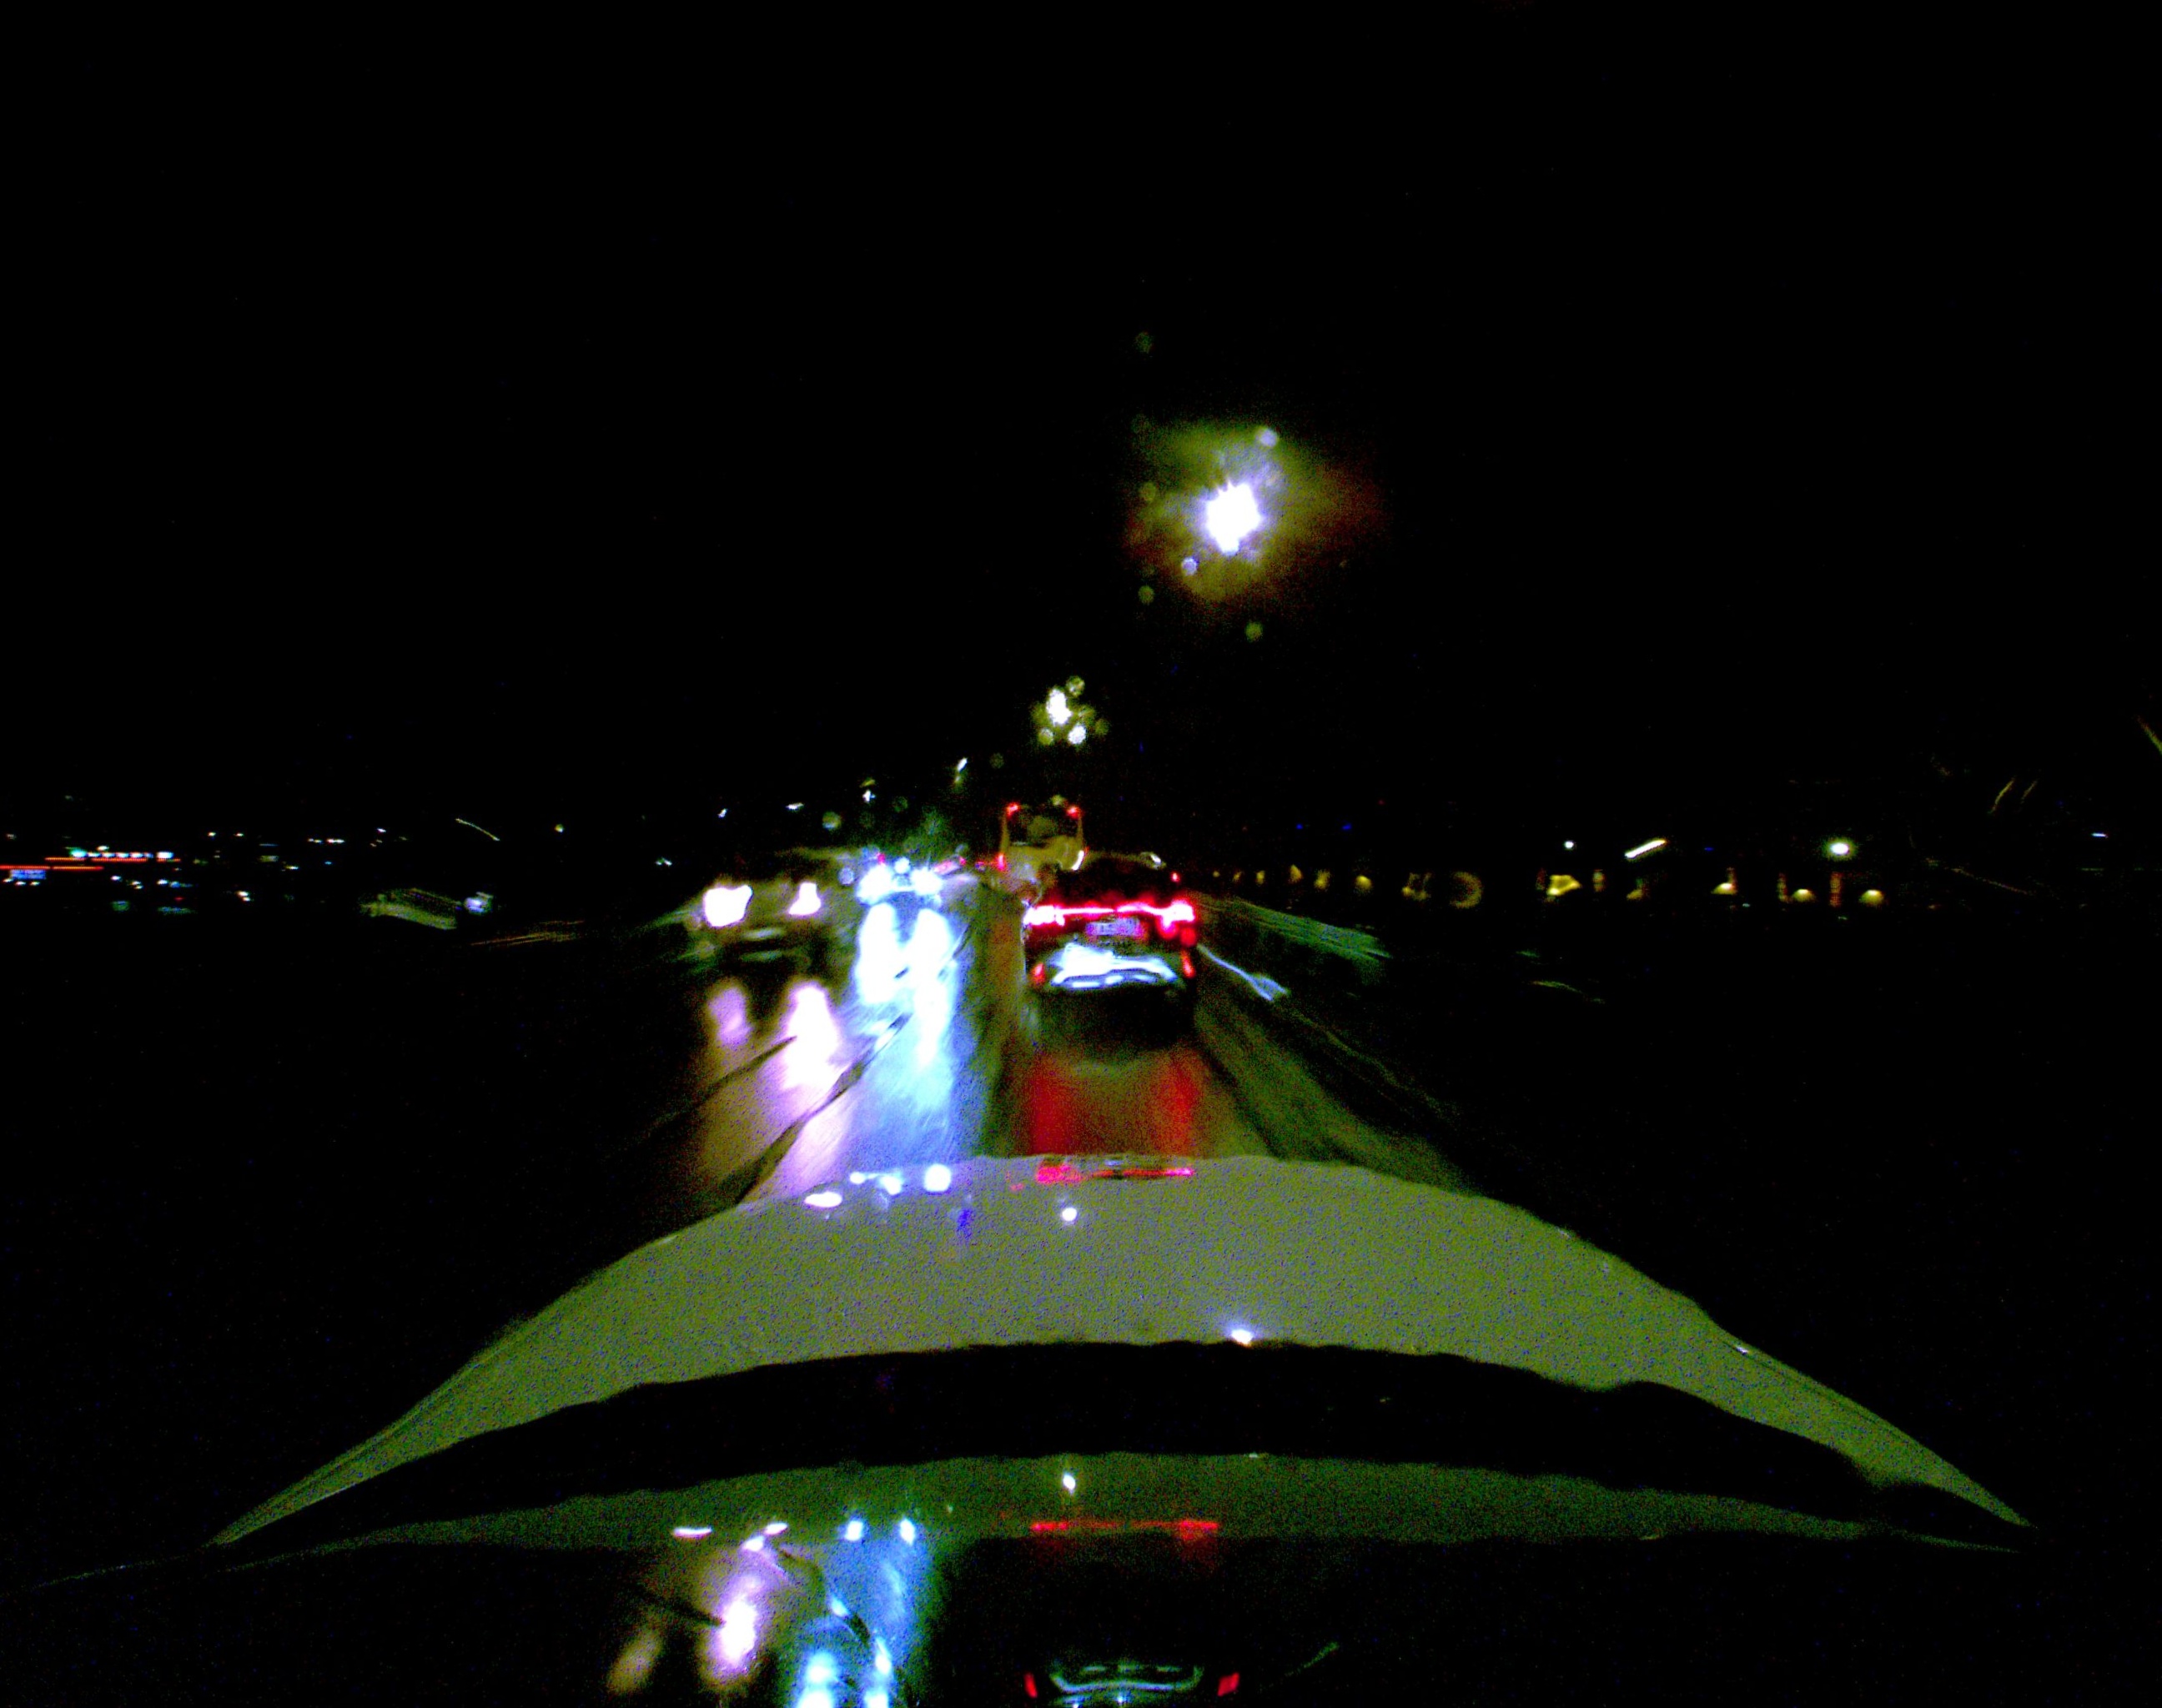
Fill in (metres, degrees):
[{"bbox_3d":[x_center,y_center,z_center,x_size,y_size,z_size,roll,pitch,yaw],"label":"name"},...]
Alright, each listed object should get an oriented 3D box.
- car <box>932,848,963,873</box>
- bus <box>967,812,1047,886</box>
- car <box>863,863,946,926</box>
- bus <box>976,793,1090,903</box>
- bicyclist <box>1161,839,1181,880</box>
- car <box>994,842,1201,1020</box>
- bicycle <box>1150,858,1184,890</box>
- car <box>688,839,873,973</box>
[{"bbox_3d":[-9.699,0.484,58.942,1.641,1.655,3.686,-4,-1,-18],"label":"car"},{"bbox_3d":[-3.822,-0.433,40.140,3.050,3.130,8.050,-3,3,-11],"label":"bus"},{"bbox_3d":[-5.625,1.221,26.547,2.019,1.719,4.972,-2,0,-6],"label":"car"},{"bbox_3d":[-2.202,-0.260,29.997,3.082,3.132,12.661,-1,1,-8],"label":"bus"},{"bbox_3d":[2.998,0.177,27.236,0.453,1.349,0.761,0,0,-13],"label":"bicyclist"},{"bbox_3d":[0.175,0.701,9.372,1.849,1.586,4.000,-1,0,1],"label":"car"},{"bbox_3d":[2.912,0.664,27.677,0.484,1.034,2.163,-1,0,-12],"label":"bicycle"},{"bbox_3d":[-4.871,0.737,13.846,1.750,1.861,3.995,-3,0,-3],"label":"car"}]
